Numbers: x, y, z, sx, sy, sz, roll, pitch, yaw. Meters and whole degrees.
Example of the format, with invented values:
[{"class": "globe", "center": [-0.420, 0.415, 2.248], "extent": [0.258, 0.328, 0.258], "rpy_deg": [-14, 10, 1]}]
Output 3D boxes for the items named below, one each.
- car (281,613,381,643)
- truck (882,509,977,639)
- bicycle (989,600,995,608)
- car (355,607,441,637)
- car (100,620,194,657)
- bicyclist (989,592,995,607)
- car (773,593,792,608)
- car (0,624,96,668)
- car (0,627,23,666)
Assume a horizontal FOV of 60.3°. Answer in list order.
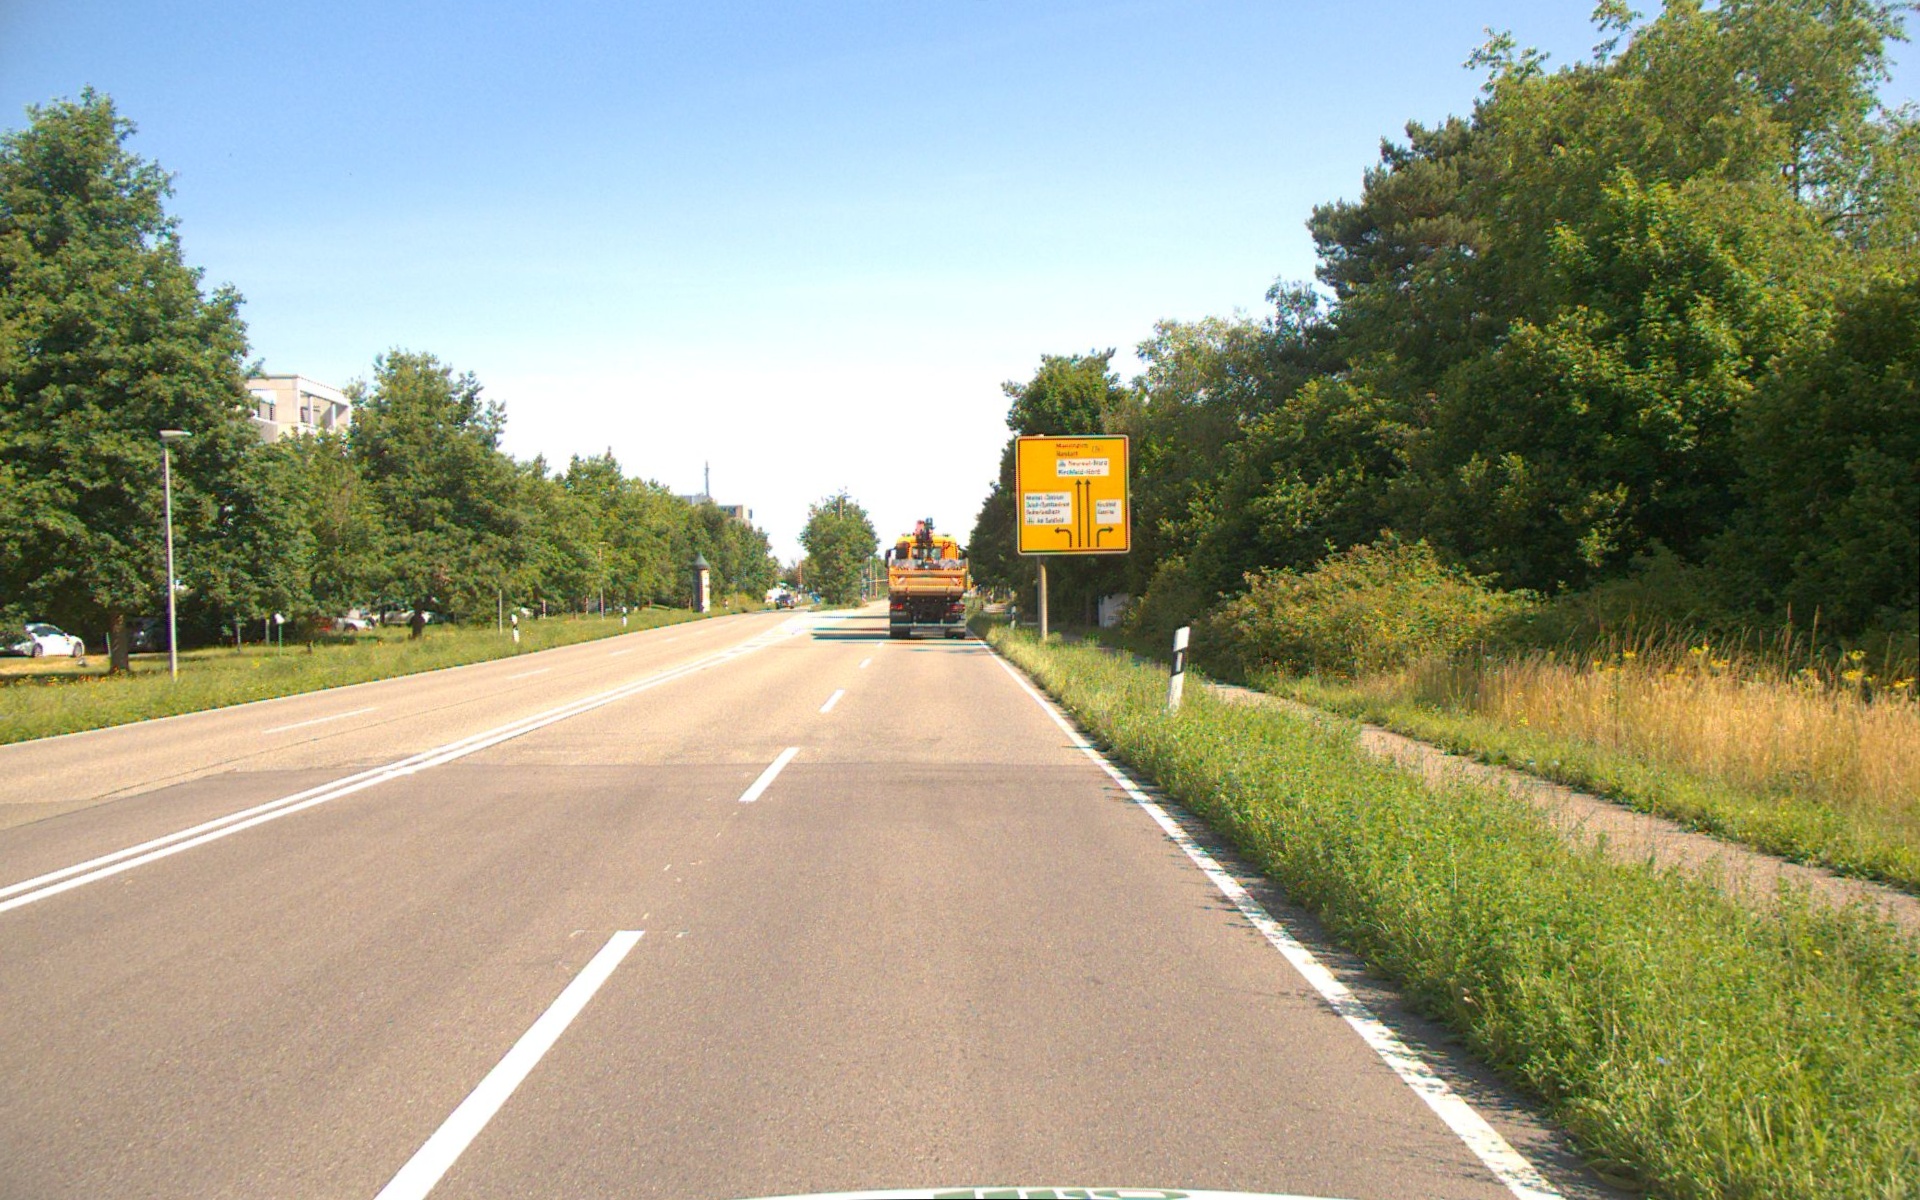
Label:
[{"class": "car", "center": [-33.302, 1.465, 87.602], "extent": [4.502, 1.462, 1.999], "rpy_deg": [-1, 0, -2]}, {"class": "truck", "center": [-1.108, -0.823, 54.648], "extent": [2.815, 3.948, 7.395], "rpy_deg": [1, 0, -3]}, {"class": "bicycle", "center": [3.486, 0.407, 180.026], "extent": [0.547, 0.830, 1.963], "rpy_deg": [-2, 0, -2]}, {"class": "car", "center": [-33.810, 1.324, 99.590], "extent": [4.502, 1.679, 1.999], "rpy_deg": [-1, 0, -2]}, {"class": "car", "center": [-36.007, 1.665, 73.391], "extent": [1.953, 1.462, 4.609], "rpy_deg": [-1, 0, -1]}, {"class": "bicyclist", "center": [3.474, -0.078, 180.024], "extent": [0.547, 1.585, 0.557], "rpy_deg": [-2, 0, -2]}, {"class": "car", "center": [-19.925, 0.092, 185.477], "extent": [1.764, 1.599, 3.999], "rpy_deg": [-2, 0, -2]}, {"class": "car", "center": [-35.432, 1.743, 63.440], "extent": [1.952, 1.462, 4.955], "rpy_deg": [-1, 0, 0]}, {"class": "car", "center": [-37.971, 1.823, 62.783], "extent": [1.952, 1.462, 4.955], "rpy_deg": [-1, 0, 0]}]
